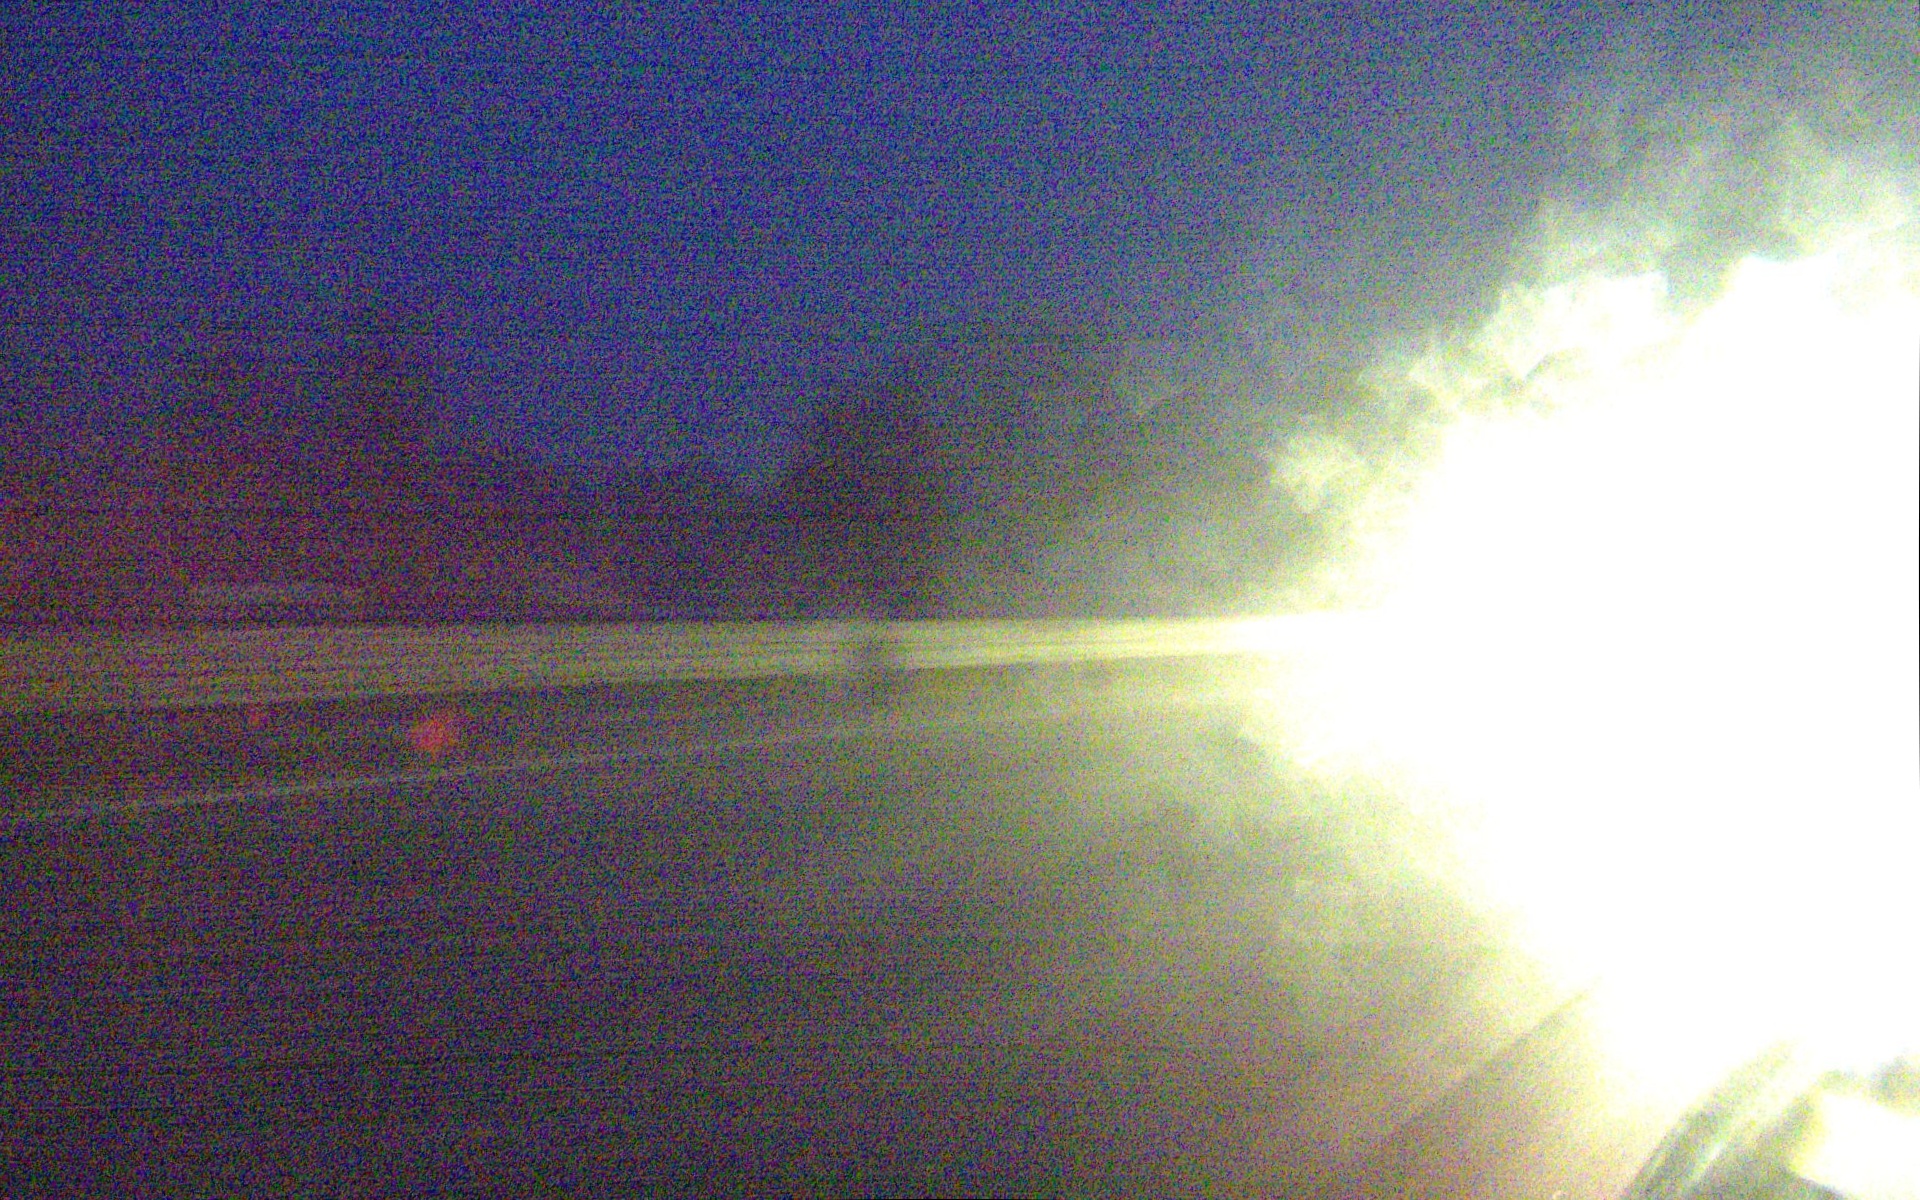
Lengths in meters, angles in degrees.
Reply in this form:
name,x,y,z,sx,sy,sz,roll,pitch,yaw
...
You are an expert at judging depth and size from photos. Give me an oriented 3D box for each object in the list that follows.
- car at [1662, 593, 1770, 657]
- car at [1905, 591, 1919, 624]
name,x,y,z,sx,sy,sz,roll,pitch,yaw
car,19.888,0.621,26.555,3.946,1.522,1.641,1,1,-44
car,57.678,0.451,60.094,4.616,1.870,1.830,2,-2,-41
